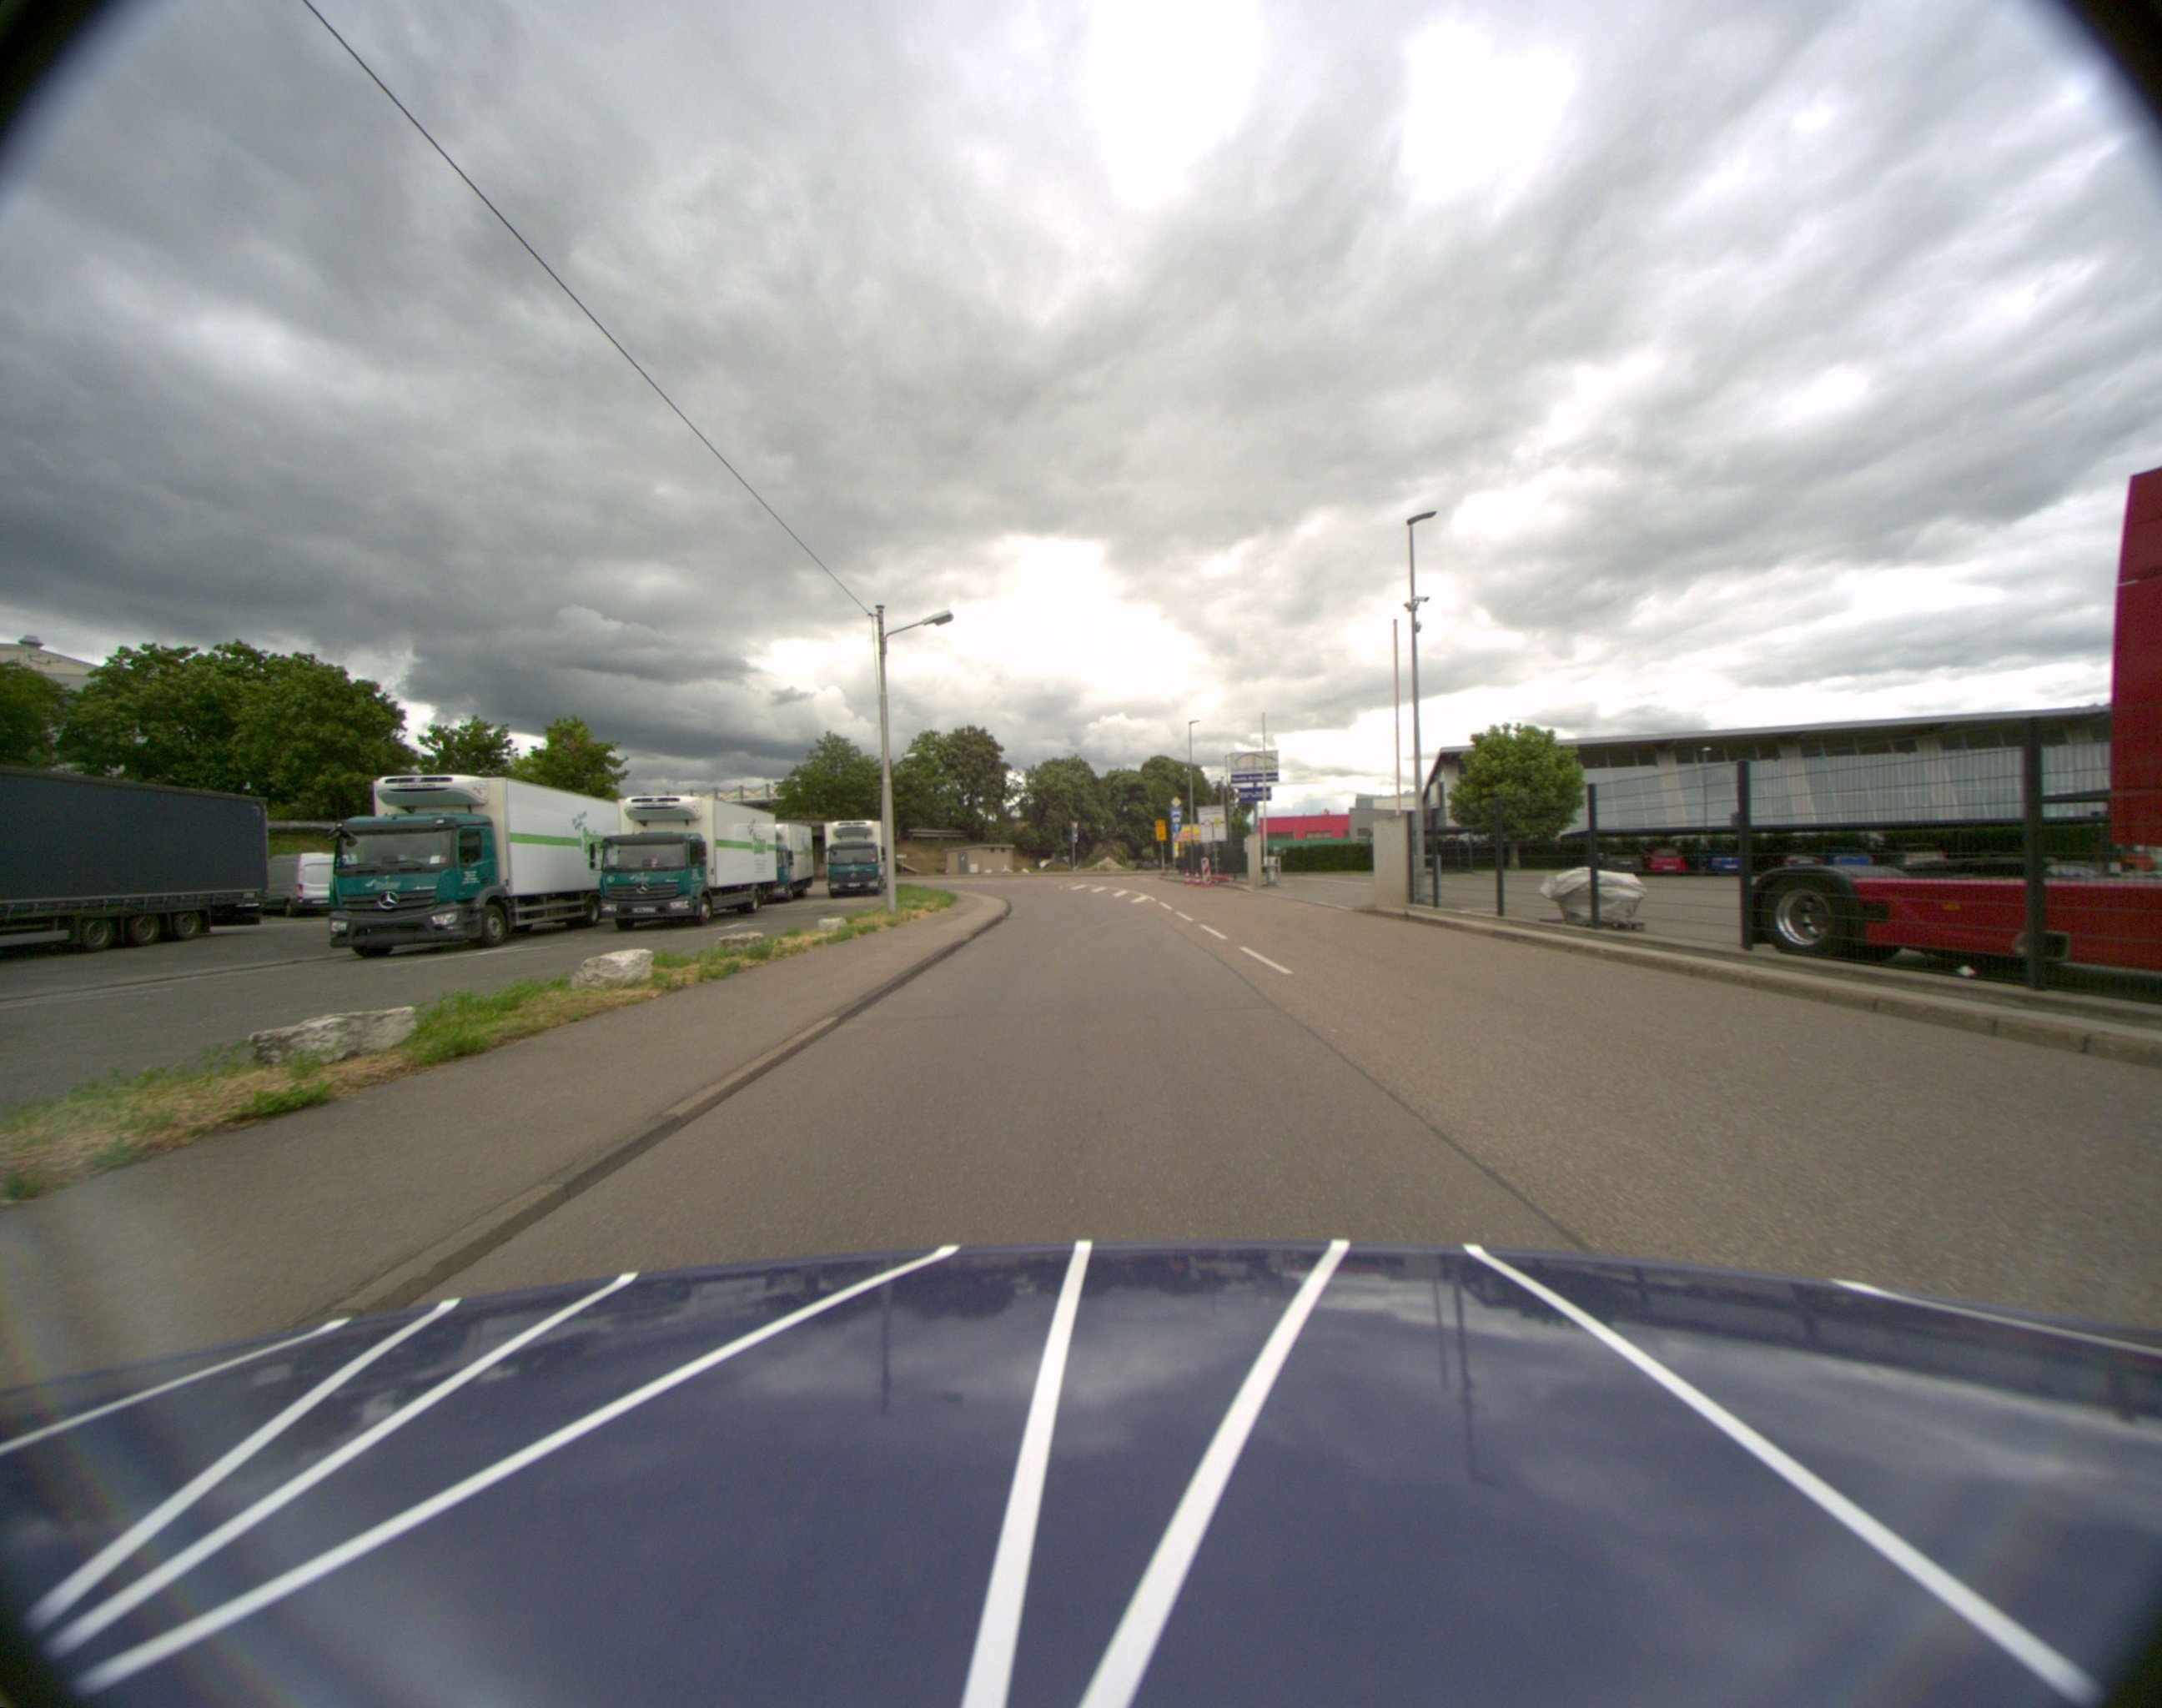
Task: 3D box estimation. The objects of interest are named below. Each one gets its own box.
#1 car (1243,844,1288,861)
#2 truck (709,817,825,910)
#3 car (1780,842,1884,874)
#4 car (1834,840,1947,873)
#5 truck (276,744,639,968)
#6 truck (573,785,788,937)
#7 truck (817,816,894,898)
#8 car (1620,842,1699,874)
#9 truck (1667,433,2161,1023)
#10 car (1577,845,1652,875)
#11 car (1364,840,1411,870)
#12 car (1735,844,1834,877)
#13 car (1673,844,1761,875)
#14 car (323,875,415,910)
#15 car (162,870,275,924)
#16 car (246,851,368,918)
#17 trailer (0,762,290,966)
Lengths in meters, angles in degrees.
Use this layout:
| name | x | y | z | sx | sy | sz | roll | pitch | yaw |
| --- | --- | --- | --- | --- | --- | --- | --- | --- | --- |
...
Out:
| name | x | y | z | sx | sy | sz | roll | pitch | yaw |
| --- | --- | --- | --- | --- | --- | --- | --- | --- | --- |
| car | 18.009 | -0.177 | 74.261 | 3.996 | 1.526 | 2.000 | -1 | 1 | 4 |
| truck | -14.459 | 0.343 | 35.799 | 3.073 | 3.611 | 8.596 | -5 | 1 | -11 |
| car | 38.563 | 0.166 | 39.193 | 1.964 | 1.550 | 4.252 | -1 | 0 | 15 |
| car | 40.739 | 0.094 | 38.382 | 1.964 | 1.550 | 4.252 | -1 | 0 | 15 |
| truck | -15.518 | -0.031 | 20.533 | 2.989 | 4.408 | 10.545 | -3 | 1 | -13 |
| truck | -12.312 | 0.207 | 24.814 | 2.989 | 3.808 | 10.425 | -3 | 0 | -10 |
| truck | -11.214 | 0.096 | 38.597 | 3.073 | 3.610 | 8.594 | -3 | 1 | -13 |
| car | 31.565 | 0.197 | 41.582 | 1.964 | 1.638 | 4.252 | -1 | 0 | 15 |
| truck | 8.827 | -0.886 | 6.145 | 2.929 | 3.997 | 6.941 | -1 | 1 | 2 |
| car | 28.805 | 0.289 | 41.167 | 1.964 | 1.483 | 4.252 | -1 | 0 | 15 |
| car | 18.074 | 0.041 | 44.935 | 2.070 | 1.660 | 4.252 | -1 | 0 | 15 |
| car | 35.851 | 0.299 | 38.866 | 1.964 | 1.550 | 4.252 | -1 | 0 | 15 |
| car | 33.816 | 0.260 | 40.559 | 1.964 | 1.550 | 4.252 | -1 | 0 | 15 |
| car | -33.261 | 1.762 | 35.494 | 3.990 | 1.499 | 1.872 | -1 | 1 | 27 |
| car | -35.071 | 1.696 | 30.897 | 3.990 | 2.038 | 2.003 | -1 | 1 | 26 |
| car | -34.177 | 1.298 | 33.522 | 5.884 | 2.762 | 2.028 | -1 | 1 | 27 |
| trailer | -23.142 | 0.208 | 16.275 | 3.067 | 3.953 | 13.081 | 0 | -1 | -20 |
